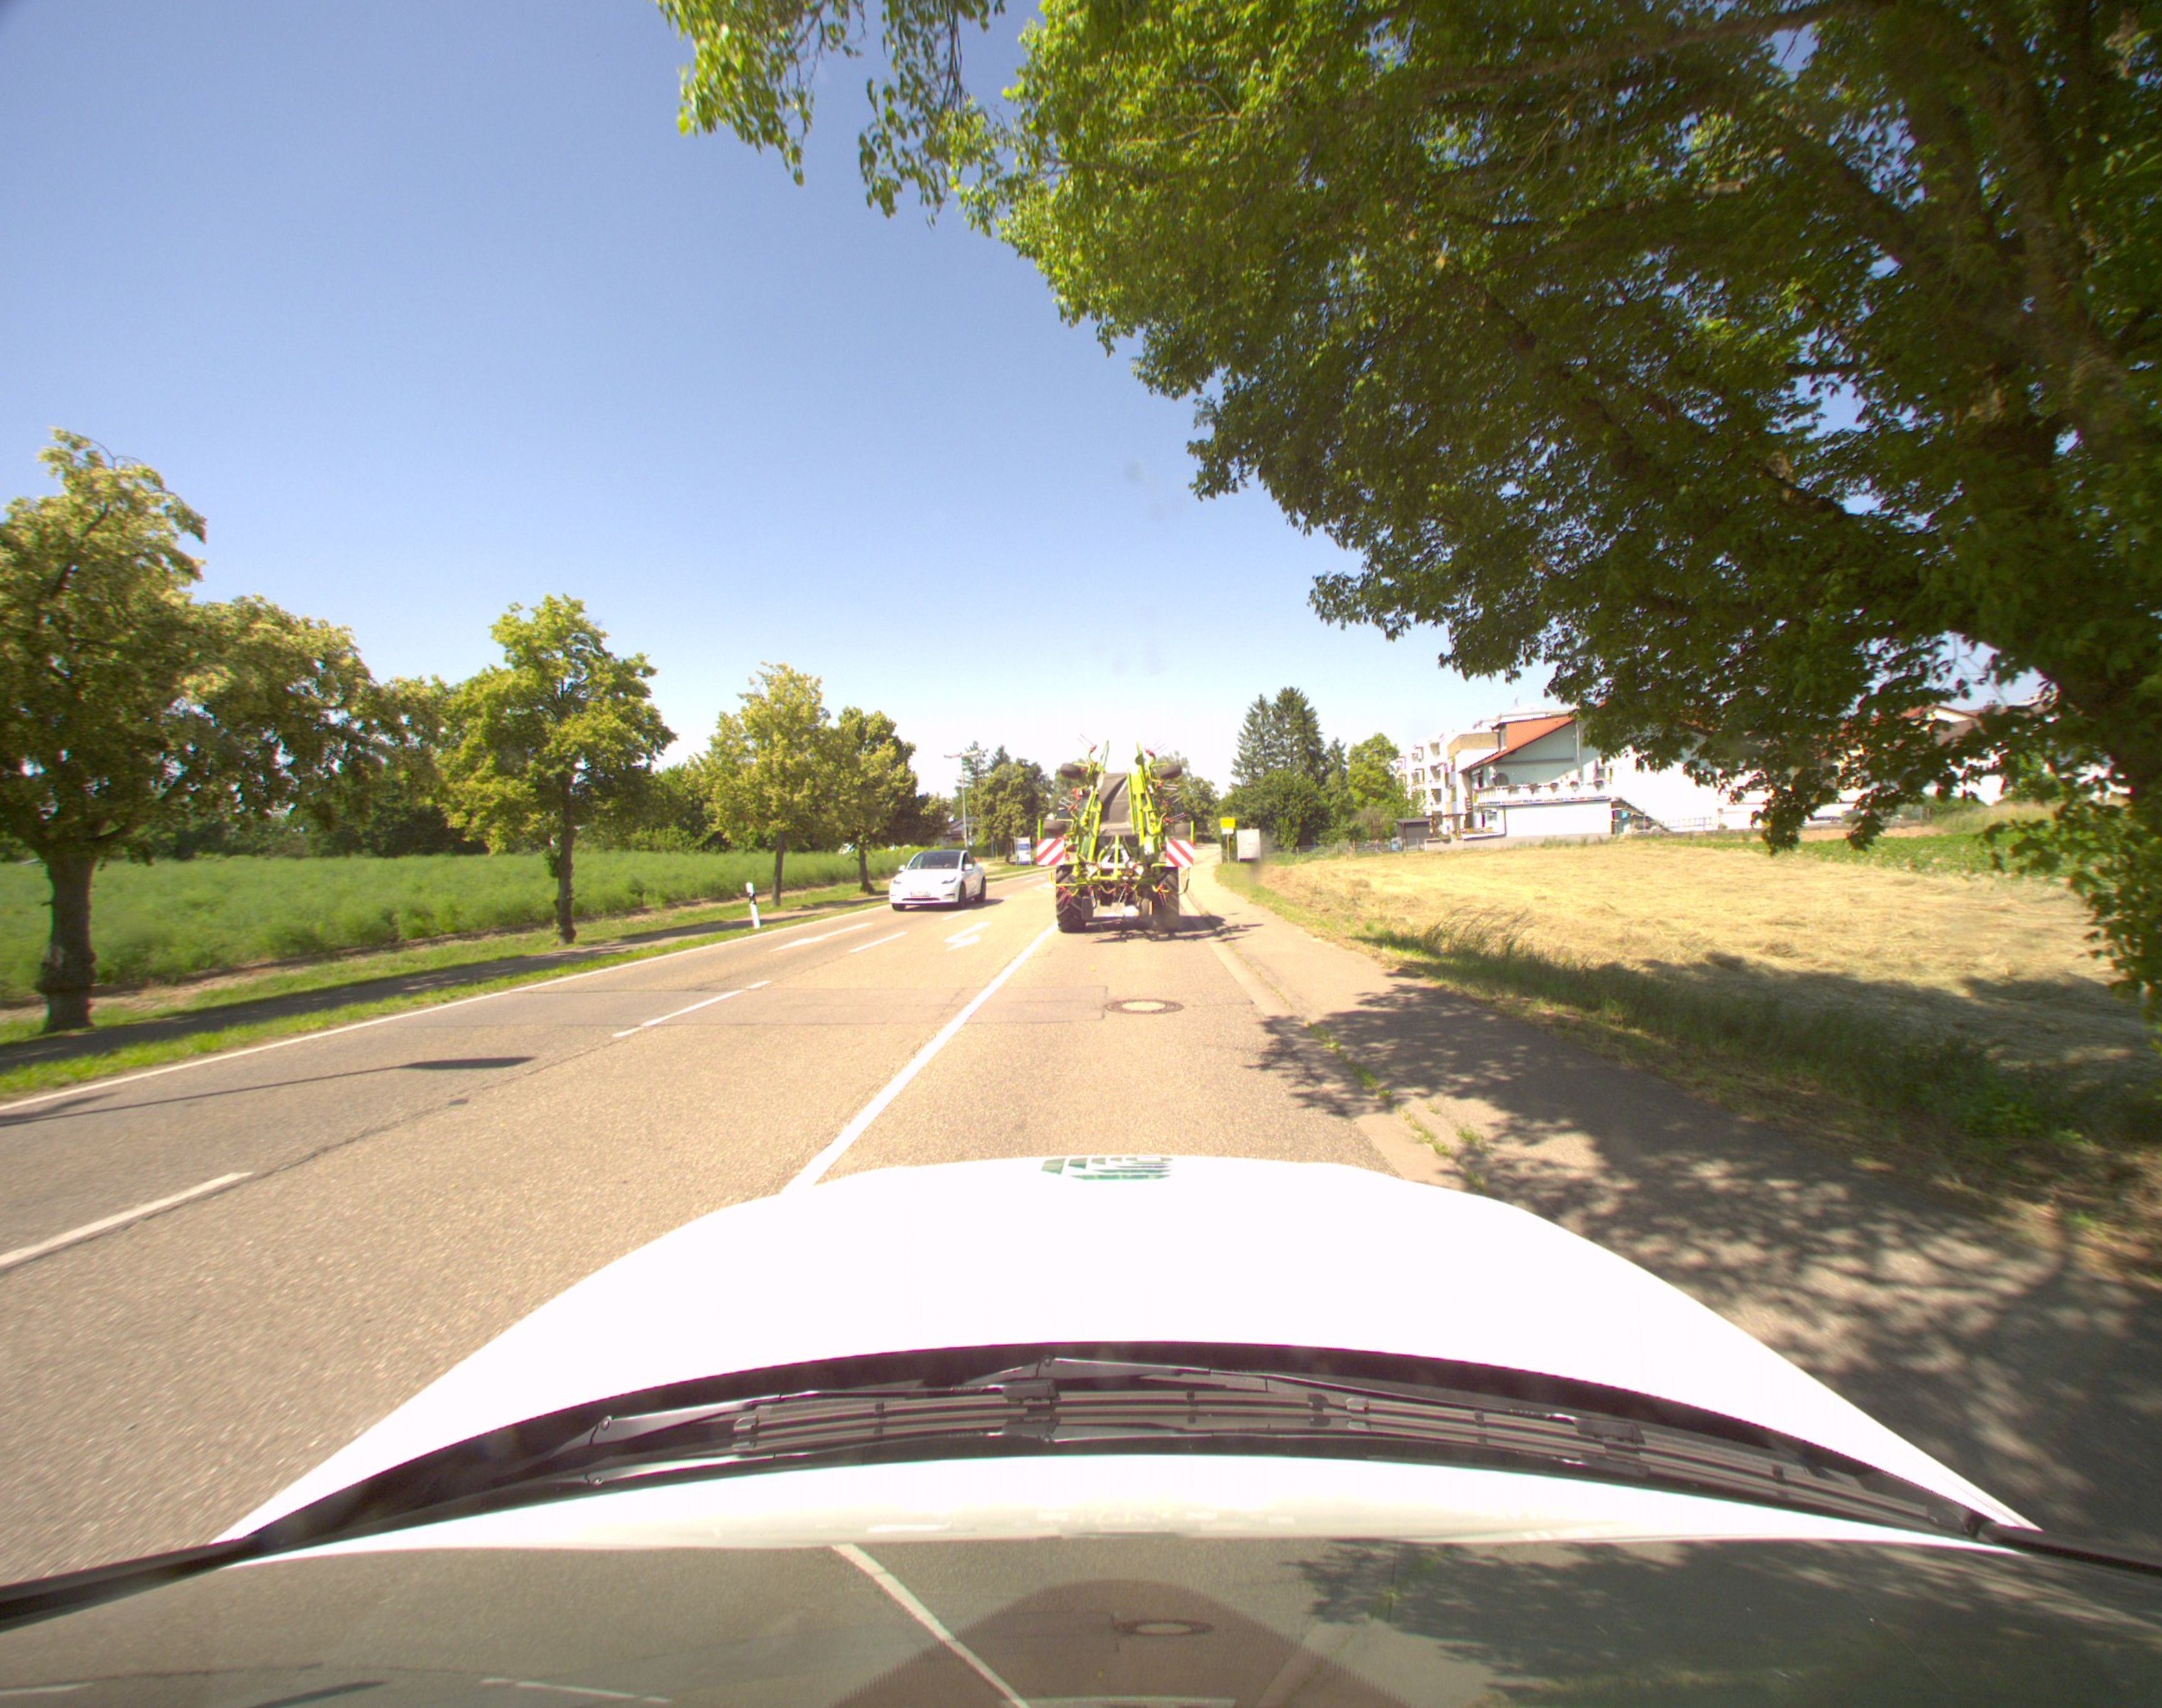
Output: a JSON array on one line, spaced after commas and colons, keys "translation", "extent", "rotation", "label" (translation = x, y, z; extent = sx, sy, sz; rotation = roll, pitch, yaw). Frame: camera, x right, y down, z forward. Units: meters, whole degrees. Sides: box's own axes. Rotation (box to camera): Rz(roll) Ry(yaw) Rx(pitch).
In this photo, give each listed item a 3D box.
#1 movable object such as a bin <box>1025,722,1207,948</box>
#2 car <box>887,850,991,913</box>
[{"translation": [0.757, -0.381, 17.633], "extent": [2.841, 3.541, 9.707], "rotation": [0, 1, 2], "label": "movable object such as a bin"}, {"translation": [-3.975, 0.701, 23.599], "extent": [1.867, 1.572, 4.477], "rotation": [-2, 1, 5], "label": "car"}]
